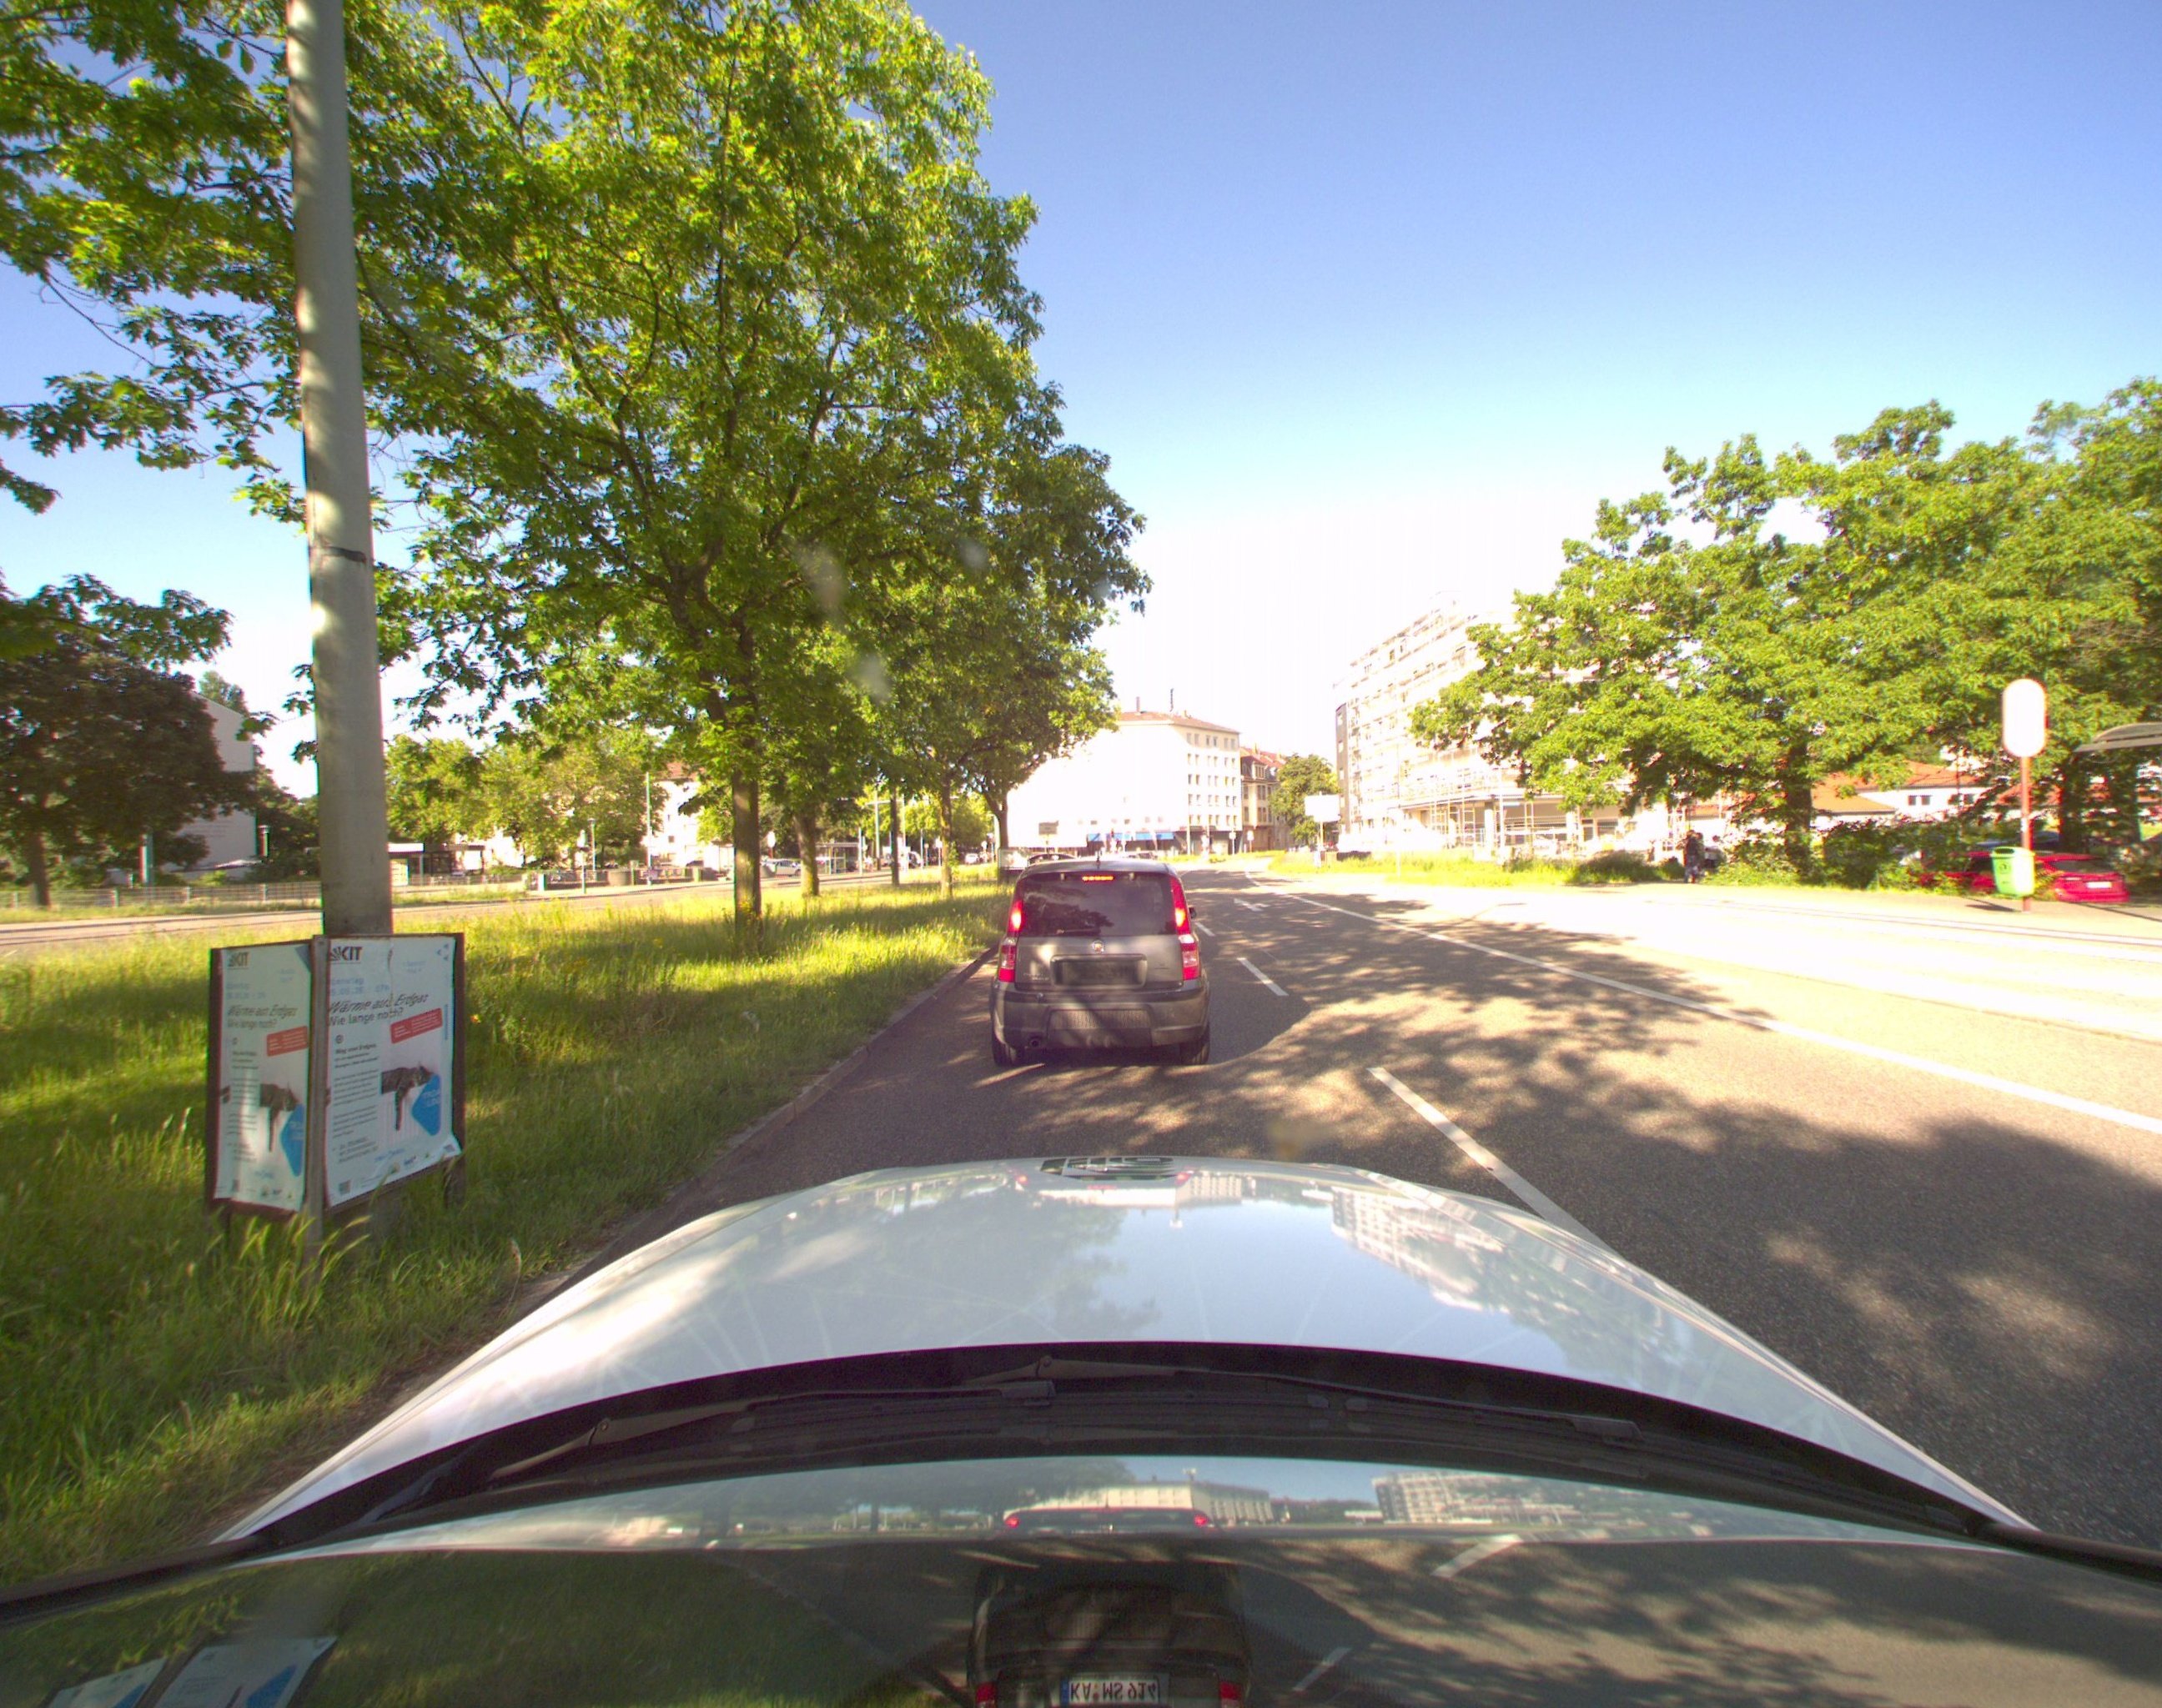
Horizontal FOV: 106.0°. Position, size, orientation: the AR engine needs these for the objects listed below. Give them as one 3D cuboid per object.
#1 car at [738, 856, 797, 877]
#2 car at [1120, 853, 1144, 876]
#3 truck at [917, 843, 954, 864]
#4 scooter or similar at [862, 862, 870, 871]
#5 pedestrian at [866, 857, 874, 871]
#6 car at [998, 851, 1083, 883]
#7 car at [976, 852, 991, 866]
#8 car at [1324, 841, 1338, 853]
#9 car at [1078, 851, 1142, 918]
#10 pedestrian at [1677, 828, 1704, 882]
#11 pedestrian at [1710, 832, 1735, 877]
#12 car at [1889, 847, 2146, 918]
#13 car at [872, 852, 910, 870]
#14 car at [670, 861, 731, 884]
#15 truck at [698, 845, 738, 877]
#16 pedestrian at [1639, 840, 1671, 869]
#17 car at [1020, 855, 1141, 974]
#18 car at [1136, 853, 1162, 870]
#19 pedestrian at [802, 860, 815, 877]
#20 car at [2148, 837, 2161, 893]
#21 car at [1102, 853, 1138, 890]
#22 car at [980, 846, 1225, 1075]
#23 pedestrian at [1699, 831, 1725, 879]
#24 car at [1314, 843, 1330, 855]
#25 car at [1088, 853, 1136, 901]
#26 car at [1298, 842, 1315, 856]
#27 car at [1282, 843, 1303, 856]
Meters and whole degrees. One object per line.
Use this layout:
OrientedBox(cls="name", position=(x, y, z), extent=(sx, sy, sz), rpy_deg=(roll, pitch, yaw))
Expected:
OrientedBox(cls="car", position=(-27.320, 1.073, 71.062), extent=(1.974, 1.684, 4.348), rpy_deg=(-2, 0, 40))
OrientedBox(cls="car", position=(3.095, 0.624, 49.632), extent=(1.351, 1.281, 2.877), rpy_deg=(-2, 0, 2))
OrientedBox(cls="truck", position=(-23.014, -0.140, 128.566), extent=(5.425, 3.168, 2.358), rpy_deg=(-2, 0, 30))
OrientedBox(cls="scooter or similar", position=(-20.587, 1.196, 78.010), extent=(0.416, 0.927, 0.537), rpy_deg=(-2, 0, 28))
OrientedBox(cls="pedestrian", position=(-20.316, 0.965, 78.526), extent=(0.411, 1.391, 0.630), rpy_deg=(-2, 0, 28))
OrientedBox(cls="car", position=(-2.213, 0.703, 44.952), extent=(4.425, 1.647, 1.835), rpy_deg=(-2, 0, 4))
OrientedBox(cls="car", position=(-14.847, 0.711, 124.156), extent=(1.988, 2.013, 3.997), rpy_deg=(-2, 0, -2))
OrientedBox(cls="car", position=(32.313, -0.865, 105.279), extent=(1.514, 1.469, 3.304), rpy_deg=(-2, 0, 20))
OrientedBox(cls="car", position=(0.726, 0.703, 20.744), extent=(1.458, 1.508, 3.506), rpy_deg=(-2, 0, 2))
OrientedBox(cls="pedestrian", position=(18.537, 0.018, 24.773), extent=(0.516, 1.612, 0.595), rpy_deg=(-2, 0, 28))
OrientedBox(cls="pedestrian", position=(20.900, 0.018, 26.547), extent=(0.516, 1.447, 0.595), rpy_deg=(-2, 0, 28))
OrientedBox(cls="car", position=(21.989, 0.602, 19.374), extent=(1.747, 1.486, 3.743), rpy_deg=(-2, 0, -2))
OrientedBox(cls="car", position=(-23.059, 0.867, 98.875), extent=(4.164, 2.013, 1.931), rpy_deg=(-2, 0, -1))
OrientedBox(cls="car", position=(-31.195, 1.518, 66.826), extent=(1.974, 1.684, 4.025), rpy_deg=(-2, 0, 40))
OrientedBox(cls="truck", position=(-33.077, 0.636, 74.198), extent=(2.012, 2.805, 3.951), rpy_deg=(-2, 0, -44))
OrientedBox(cls="pedestrian", position=(29.040, 0.015, 41.220), extent=(0.896, 1.447, 0.958), rpy_deg=(-2, 0, -23))
OrientedBox(cls="car", position=(0.052, 0.755, 11.760), extent=(1.458, 1.401, 3.395), rpy_deg=(-2, 0, 2))
OrientedBox(cls="car", position=(4.863, 0.511, 57.714), extent=(1.133, 1.064, 2.735), rpy_deg=(-2, 0, 19))
OrientedBox(cls="pedestrian", position=(-26.294, 1.374, 78.611), extent=(0.910, 1.607, 0.802), rpy_deg=(-2, 0, 41))
OrientedBox(cls="car", position=(29.865, 0.264, 20.178), extent=(1.911, 1.486, 3.725), rpy_deg=(-2, 0, -17))
OrientedBox(cls="car", position=(1.603, 0.696, 33.965), extent=(1.351, 1.449, 3.267), rpy_deg=(-2, 0, 2))
OrientedBox(cls="car", position=(0.208, 0.708, 7.532), extent=(1.622, 1.508, 4.002), rpy_deg=(-2, 0, 2))
OrientedBox(cls="pedestrian", position=(19.177, 0.028, 24.755), extent=(0.516, 1.447, 0.595), rpy_deg=(-2, 0, 28))
OrientedBox(cls="car", position=(27.623, -0.587, 93.426), extent=(1.514, 1.314, 3.304), rpy_deg=(-2, 0, 20))
OrientedBox(cls="car", position=(1.031, 0.731, 27.395), extent=(1.458, 1.424, 3.383), rpy_deg=(-2, 1, 2))
OrientedBox(cls="car", position=(24.912, -0.536, 89.996), extent=(1.669, 1.449, 3.588), rpy_deg=(-2, 0, 18))
OrientedBox(cls="car", position=(24.455, -0.555, 94.257), extent=(1.666, 1.449, 3.593), rpy_deg=(-2, 0, 26))
